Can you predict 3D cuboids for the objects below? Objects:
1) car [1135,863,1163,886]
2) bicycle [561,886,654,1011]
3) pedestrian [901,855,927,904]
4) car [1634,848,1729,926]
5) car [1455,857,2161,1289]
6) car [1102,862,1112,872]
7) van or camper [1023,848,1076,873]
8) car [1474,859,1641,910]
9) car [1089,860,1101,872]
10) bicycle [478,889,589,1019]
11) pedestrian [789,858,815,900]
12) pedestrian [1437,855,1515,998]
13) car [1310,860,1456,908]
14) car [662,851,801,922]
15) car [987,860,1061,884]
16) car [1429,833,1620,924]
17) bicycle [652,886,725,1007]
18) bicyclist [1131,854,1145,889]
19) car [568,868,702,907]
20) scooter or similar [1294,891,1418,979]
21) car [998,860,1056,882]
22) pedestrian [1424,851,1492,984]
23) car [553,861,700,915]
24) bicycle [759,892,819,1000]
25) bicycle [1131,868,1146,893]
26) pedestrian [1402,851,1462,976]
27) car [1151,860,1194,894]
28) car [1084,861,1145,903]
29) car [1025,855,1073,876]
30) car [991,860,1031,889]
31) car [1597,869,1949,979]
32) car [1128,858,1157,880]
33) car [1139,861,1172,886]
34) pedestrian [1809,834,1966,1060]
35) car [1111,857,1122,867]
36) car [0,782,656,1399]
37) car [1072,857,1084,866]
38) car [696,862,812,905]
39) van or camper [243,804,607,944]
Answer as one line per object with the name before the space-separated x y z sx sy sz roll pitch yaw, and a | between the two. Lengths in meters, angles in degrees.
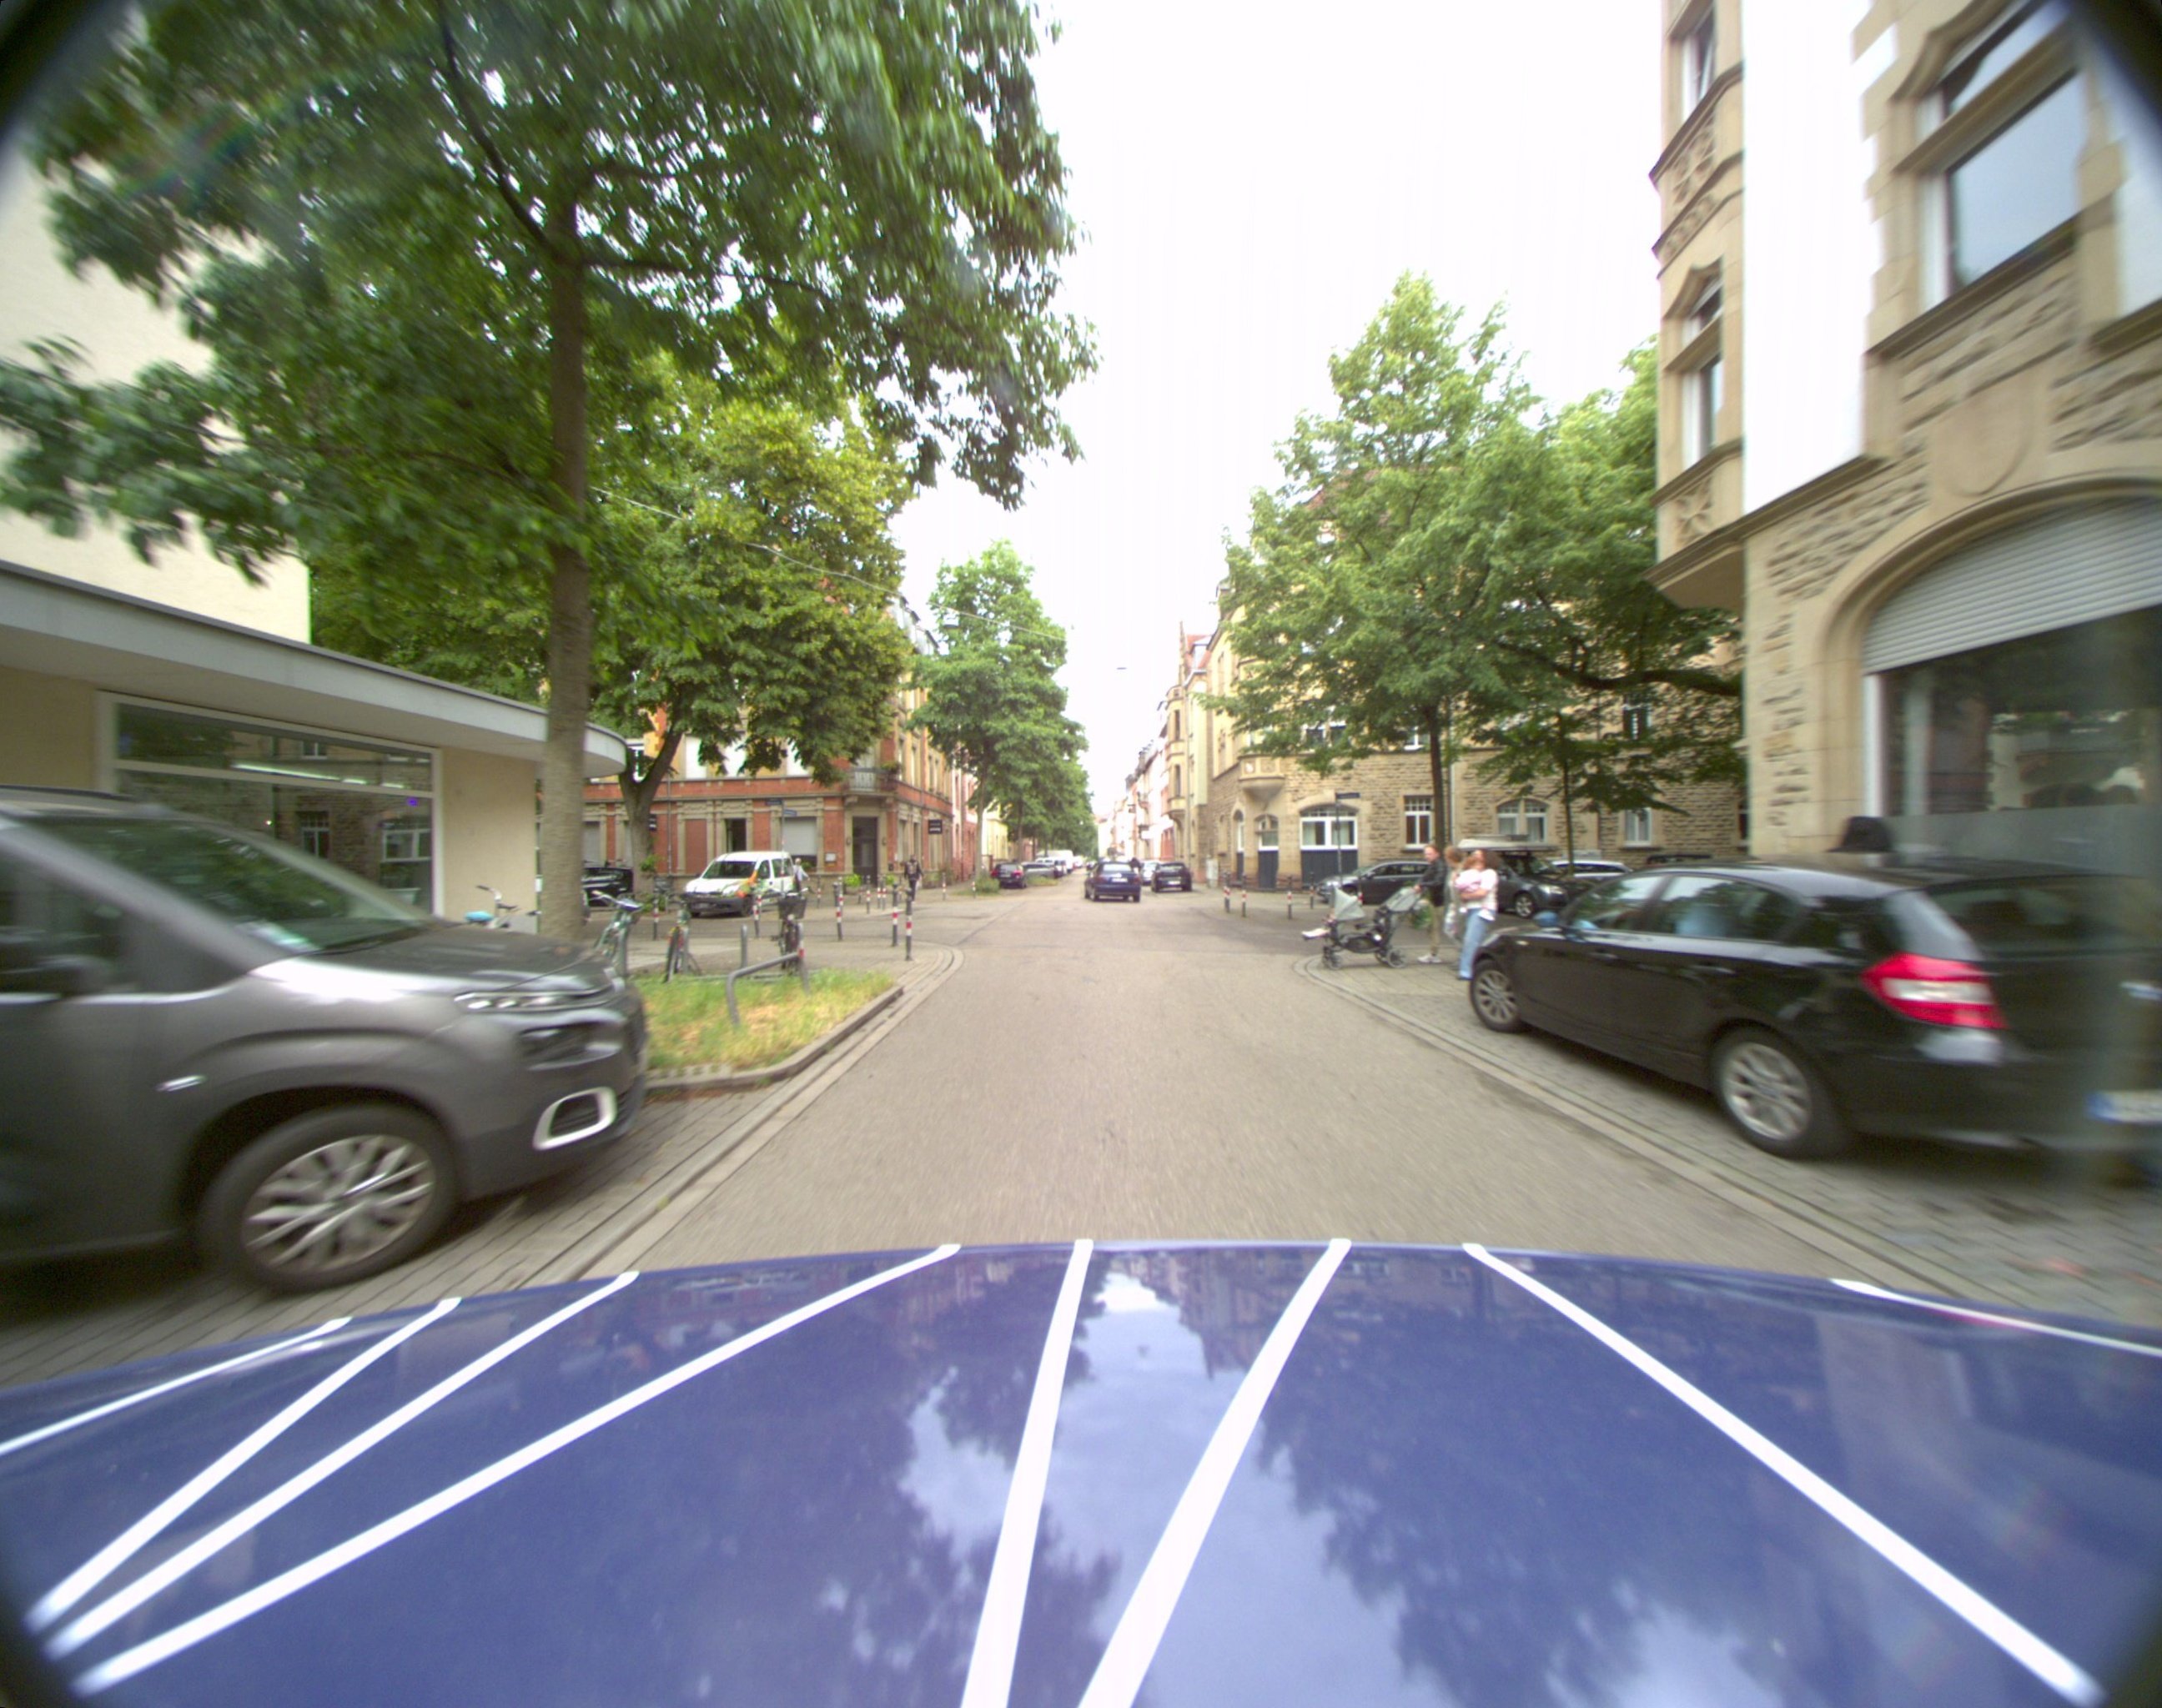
car | 4.465 1.319 50.362 1.520 1.425 3.456 -2 -1 1
bicycle | -5.318 0.999 8.625 0.550 1.167 1.725 -1 1 -21
pedestrian | -6.180 0.926 28.086 0.781 1.786 0.509 -1 0 3
car | 14.442 0.714 18.414 1.649 1.508 3.618 -1 3 36
car | 4.117 0.798 4.700 1.713 1.486 4.001 -2 0 2
car | 5.691 2.847 164.722 2.052 2.071 3.811 -2 -1 2
van or camper | -3.230 0.658 78.730 5.077 2.575 2.069 0 0 -29
car | 15.314 0.973 24.610 4.279 1.459 1.663 -1 4 8
car | 2.124 1.780 114.153 1.814 1.620 4.208 -1 0 2
bicycle | -5.967 1.030 8.369 0.550 1.167 1.694 -1 1 -21
pedestrian | -11.350 1.002 30.912 0.748 1.696 0.563 -1 1 12
pedestrian | 4.651 0.818 8.941 0.630 1.584 0.671 -1 0 42
car | 10.078 0.985 25.645 4.279 1.459 1.663 0 4 8
car | -9.619 0.834 21.298 1.774 1.808 4.002 0 0 5
car | -3.707 1.178 49.529 4.453 1.419 1.754 2 0 -33
car | 10.578 0.529 18.486 1.834 1.956 3.957 -1 0 -12
bicycle | -4.564 1.014 8.911 0.550 1.167 1.725 -1 1 -21
bicyclist | 2.570 0.783 34.296 0.649 1.529 0.677 0 0 3
car | -17.797 1.320 30.417 4.325 1.347 2.001 -1 2 12
scooter or similar | 3.735 1.097 10.435 1.471 1.097 0.676 -3 0 12
car | -3.809 1.184 53.730 3.700 1.457 1.701 0 0 -30
pedestrian | 4.792 0.790 9.681 0.617 1.633 0.604 -1 0 13
car | -14.540 1.056 24.569 3.958 1.571 1.682 -1 -1 -27
bicycle | -3.539 1.052 9.208 0.608 1.088 1.782 -1 0 -21
bicycle | 2.573 1.193 34.238 0.635 1.087 1.800 0 -1 3
pedestrian | 4.746 0.786 10.304 0.529 1.633 0.528 -2 0 3
car | 4.285 1.059 36.142 1.731 1.425 3.883 -2 -1 3
car | 1.134 0.989 27.362 1.713 1.404 3.852 0 -2 -5
car | -2.835 1.020 68.310 3.993 1.801 1.722 0 0 12
car | -3.856 1.089 42.557 1.768 1.477 4.480 1 0 1
car | 10.131 0.980 11.411 3.574 1.451 1.651 0 -2 10
car | 4.477 1.074 55.799 1.671 1.502 3.553 0 0 -4
car | 4.462 1.160 45.945 1.593 1.425 3.810 -2 -1 0
pedestrian | 5.653 0.624 5.353 0.516 1.509 0.546 -1 0 1
car | 4.888 1.094 105.542 1.457 1.401 3.811 -2 -1 2
car | -4.204 0.716 2.876 4.351 1.843 1.907 0 0 -24
car | -0.550 1.535 150.104 1.998 1.739 4.001 -1 0 3
car | -12.791 1.136 29.799 3.829 1.531 1.661 -1 1 7
van or camper | -12.736 0.448 14.931 5.781 2.478 2.139 -1 -3 9
